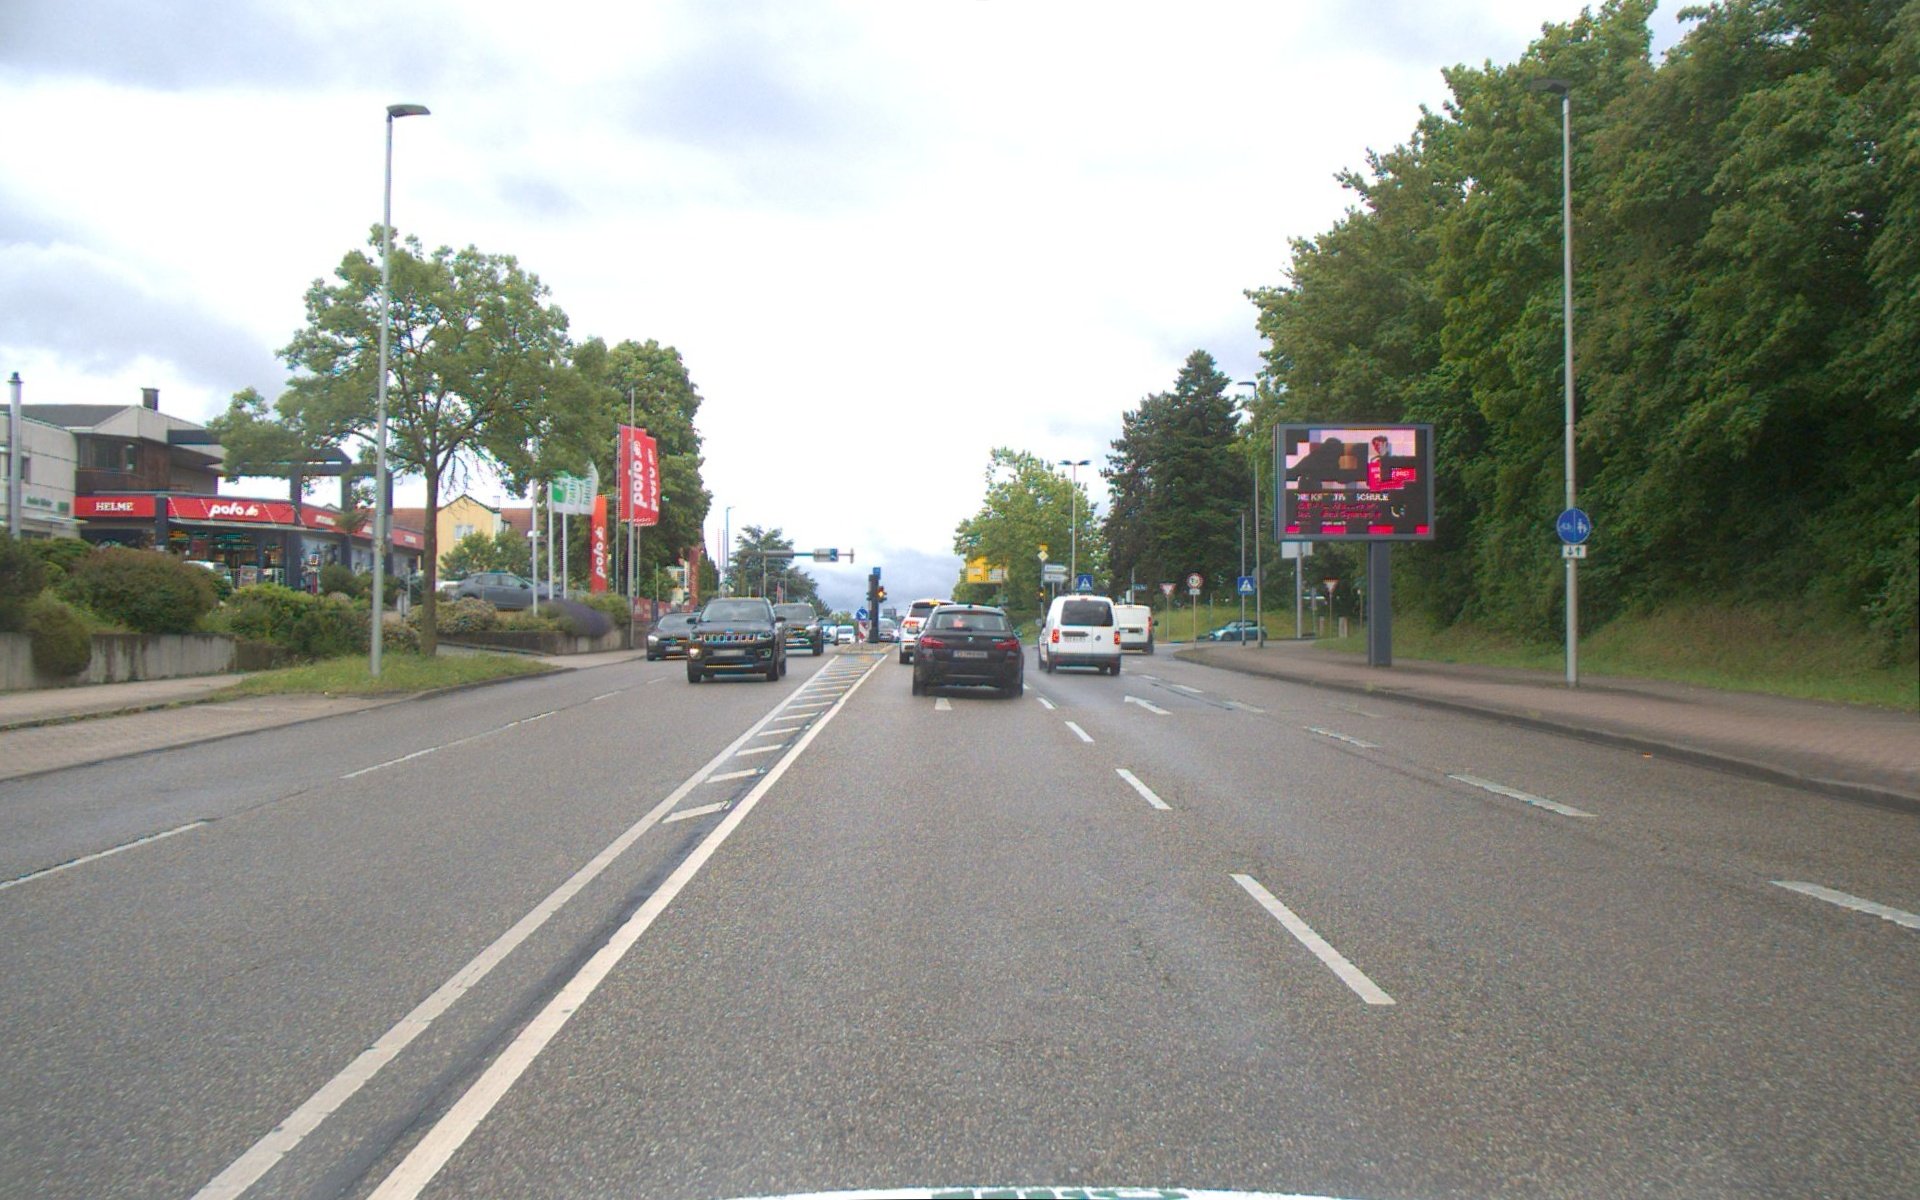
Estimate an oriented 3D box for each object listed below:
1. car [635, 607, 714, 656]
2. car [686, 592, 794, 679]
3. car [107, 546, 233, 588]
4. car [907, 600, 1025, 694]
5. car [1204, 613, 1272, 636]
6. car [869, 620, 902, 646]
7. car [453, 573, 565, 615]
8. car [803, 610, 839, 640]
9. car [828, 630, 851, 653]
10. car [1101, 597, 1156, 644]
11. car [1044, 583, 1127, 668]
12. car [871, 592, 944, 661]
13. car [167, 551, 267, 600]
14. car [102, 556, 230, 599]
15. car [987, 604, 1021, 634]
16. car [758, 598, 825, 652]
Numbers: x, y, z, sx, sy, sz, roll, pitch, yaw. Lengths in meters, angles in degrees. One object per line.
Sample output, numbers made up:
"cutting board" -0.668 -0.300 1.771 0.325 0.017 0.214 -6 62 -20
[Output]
"car" -8.960 0.957 52.156 1.756 1.426 4.299 -1 0 -1
"car" -4.406 0.670 33.590 1.759 1.611 4.196 -1 0 -2
"car" -30.302 -1.250 63.527 3.907 1.539 1.875 0 -1 1
"car" 0.138 0.739 27.958 1.816 1.444 3.957 1 0 1
"car" 17.572 1.522 104.503 3.927 1.316 1.600 -1 0 -20
"car" -4.432 1.949 97.738 1.857 1.481 4.093 0 -1 -4
"car" -16.391 -0.221 60.263 3.755 1.508 1.738 0 -1 -9
"car" -6.891 1.219 82.221 1.634 1.422 3.997 -1 -1 -4
"car" -10.190 3.480 140.088 1.820 1.855 4.576 -2 -1 -3
"car" 6.467 0.754 63.718 1.777 1.738 3.946 0 0 1
"car" 2.948 0.587 39.625 1.705 1.902 3.946 1 0 1
"car" -1.366 0.677 44.268 1.692 1.741 3.383 1 0 2
"car" -25.389 -0.827 56.673 1.640 1.539 4.001 -1 -1 -1
"car" -28.701 -0.810 59.887 3.753 1.508 1.872 0 -1 -6
"car" 2.171 0.924 81.826 1.567 1.396 3.680 -1 0 0
"car" -5.388 0.790 53.394 1.786 1.635 4.282 -1 0 -2
